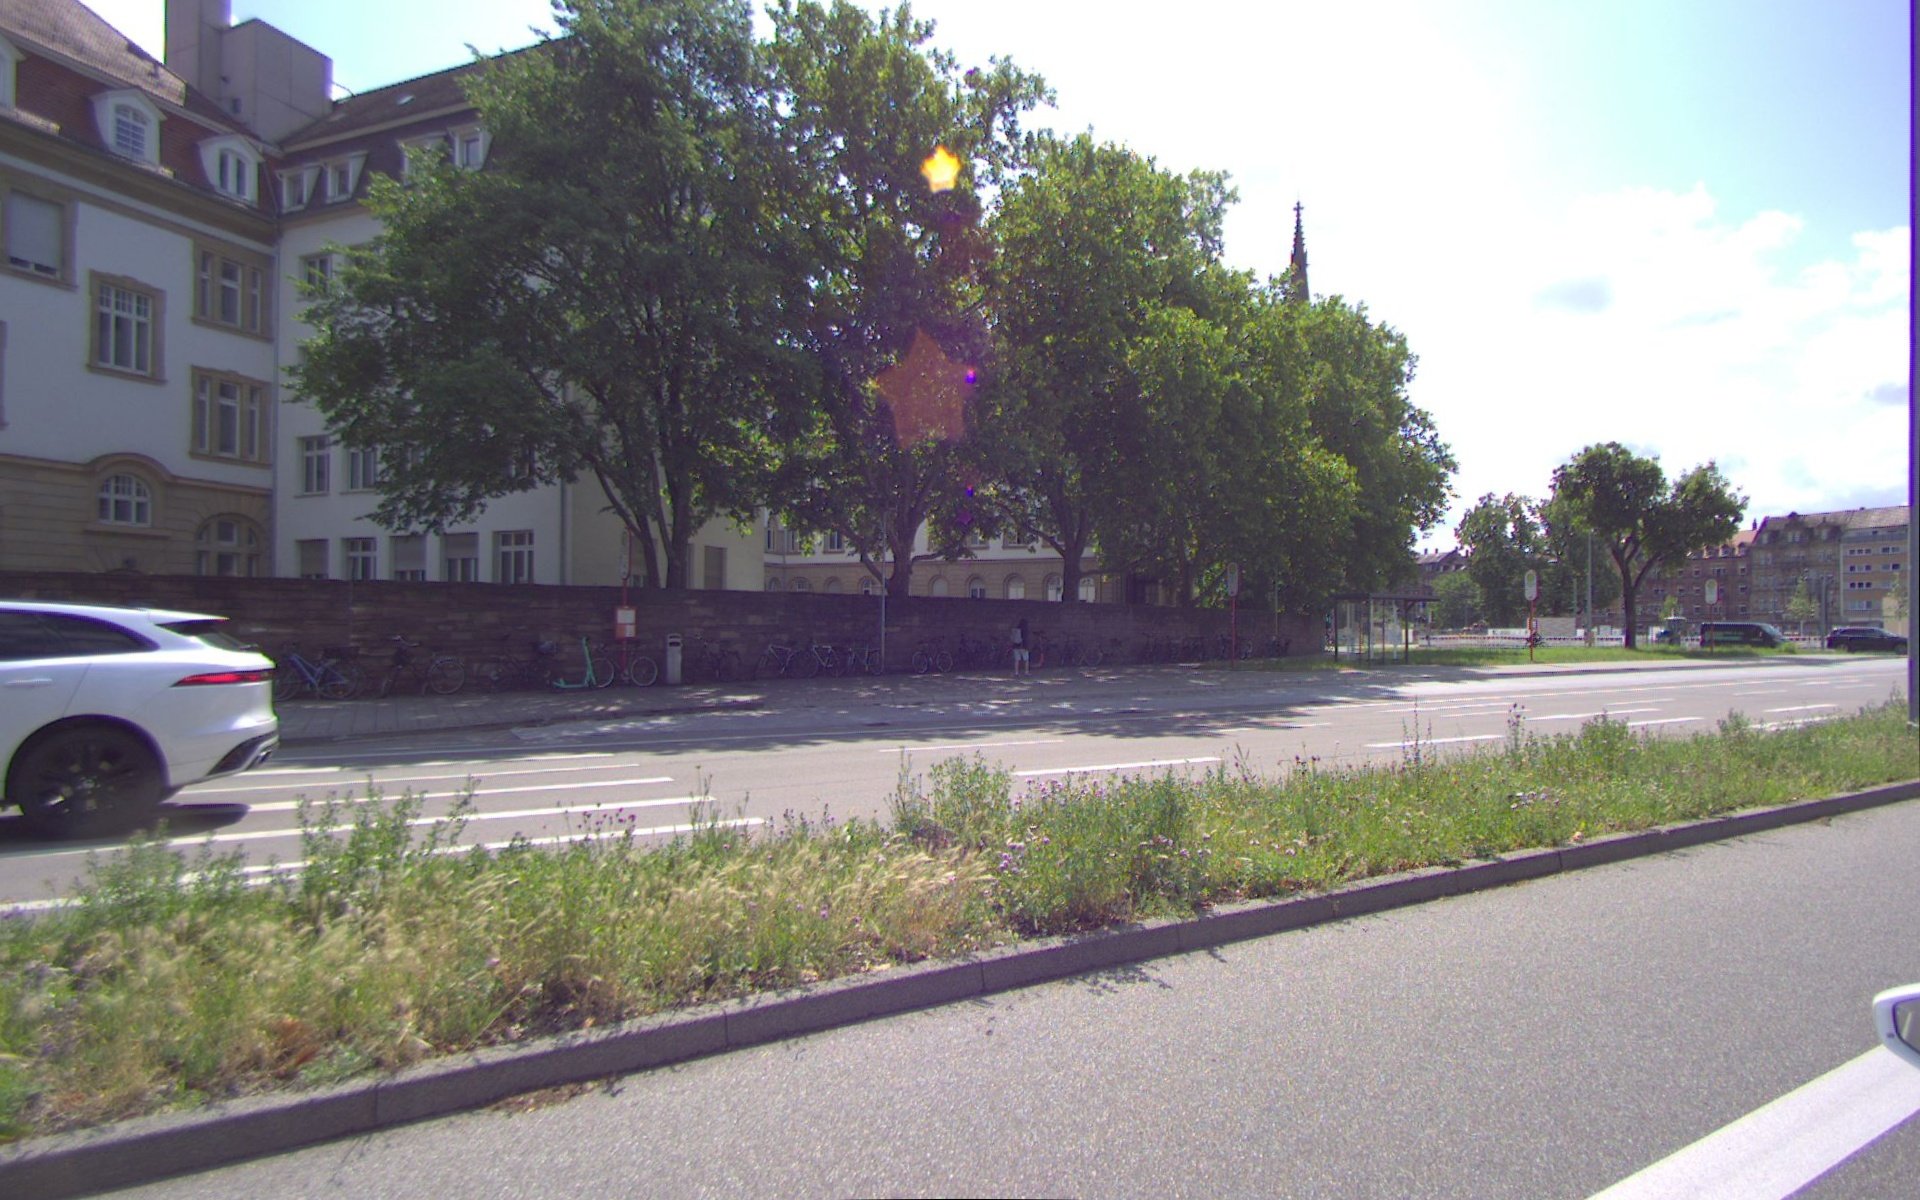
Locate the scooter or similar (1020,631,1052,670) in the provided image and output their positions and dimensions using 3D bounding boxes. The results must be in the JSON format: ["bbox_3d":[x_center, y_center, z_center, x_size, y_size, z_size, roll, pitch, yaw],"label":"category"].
[{"bbox_3d":[2.423,1.599,31.797,0.426,1.199,1.188,-1,-1,37],"label":"scooter or similar"}]

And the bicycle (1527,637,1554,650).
[{"bbox_3d":[47.769,3.596,82.670,0.543,1.044,1.906,1,-1,-37],"label":"bicycle"}]

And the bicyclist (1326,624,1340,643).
[{"bbox_3d":[36.694,3.265,98.780,0.588,1.869,1.110,0,-1,-38],"label":"bicyclist"}]

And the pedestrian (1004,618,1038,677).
[{"bbox_3d":[1.711,1.321,28.212,0.607,1.638,0.754,1,0,38],"label":"pedestrian"}]

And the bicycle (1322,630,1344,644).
[{"bbox_3d":[36.686,3.615,98.780,0.599,1.307,2.049,1,-1,-37],"label":"bicycle"}]

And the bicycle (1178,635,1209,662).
[{"bbox_3d":[9.604,1.990,41.211,0.537,1.065,1.615,-1,-1,41],"label":"bicycle"}]

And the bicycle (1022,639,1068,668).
[{"bbox_3d":[2.821,1.763,33.172,1.654,0.914,0.538,1,-1,-44],"label":"bicycle"}]

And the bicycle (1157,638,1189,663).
[{"bbox_3d":[8.481,1.985,39.952,0.537,0.964,1.657,-1,-1,41],"label":"bicycle"}]

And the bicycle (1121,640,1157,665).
[{"bbox_3d":[6.759,1.969,37.809,0.538,0.914,1.656,-1,-1,43],"label":"bicycle"}]

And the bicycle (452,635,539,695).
[{"bbox_3d":[-9.638,1.329,20.875,0.525,1.167,1.588,-1,-1,37],"label":"bicycle"}]

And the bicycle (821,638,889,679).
[{"bbox_3d":[-2.819,1.558,27.163,1.882,1.061,0.538,1,-1,-44],"label":"bicycle"}]

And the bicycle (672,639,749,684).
[{"bbox_3d":[-6.026,1.473,24.293,1.787,1.021,0.476,1,-1,-41],"label":"bicycle"}]

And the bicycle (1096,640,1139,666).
[{"bbox_3d":[5.692,1.900,36.223,1.649,0.914,0.498,1,-1,-35],"label":"bicycle"}]

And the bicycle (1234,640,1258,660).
[{"bbox_3d":[13.376,2.327,46.982,0.446,0.914,1.787,0,-1,38],"label":"bicycle"}]

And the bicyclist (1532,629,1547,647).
[{"bbox_3d":[47.730,3.144,82.709,0.546,1.493,0.960,1,-1,-38],"label":"bicyclist"}]

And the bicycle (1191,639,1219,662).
[{"bbox_3d":[10.415,2.131,42.715,0.537,0.914,1.659,0,-1,38],"label":"bicycle"}]

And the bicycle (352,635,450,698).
[{"bbox_3d":[-10.845,1.269,19.544,0.525,1.167,1.588,-1,-1,37],"label":"bicycle"}]

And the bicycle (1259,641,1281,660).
[{"bbox_3d":[15.409,2.486,49.894,0.537,0.914,1.659,0,-1,38],"label":"bicycle"}]

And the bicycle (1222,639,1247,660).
[{"bbox_3d":[12.428,2.236,45.471,0.537,0.914,1.659,0,-1,38],"label":"bicycle"}]

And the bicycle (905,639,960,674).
[{"bbox_3d":[-0.796,1.632,29.034,1.654,0.962,0.538,1,-1,-44],"label":"bicycle"}]

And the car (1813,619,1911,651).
[{"bbox_3d":[60.384,2.338,67.311,2.079,2.040,4.598,2,-2,-35],"label":"car"}]

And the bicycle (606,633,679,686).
[{"bbox_3d":[-7.294,1.348,23.136,1.583,1.158,0.427,1,-2,-44],"label":"bicycle"}]

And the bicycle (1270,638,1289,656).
[{"bbox_3d":[16.443,2.410,51.707,0.536,0.914,1.661,0,-1,33],"label":"bicycle"}]

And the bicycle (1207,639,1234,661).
[{"bbox_3d":[11.439,2.198,44.097,0.537,0.914,1.659,0,-1,38],"label":"bicycle"}]

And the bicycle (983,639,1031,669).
[{"bbox_3d":[1.500,1.704,31.802,1.654,0.914,0.538,2,-2,-44],"label":"bicycle"}]

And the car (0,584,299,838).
[{"bbox_3d":[-7.626,0.747,7.155,4.719,1.689,2.061,1,-1,-31],"label":"car"}]

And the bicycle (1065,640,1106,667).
[{"bbox_3d":[4.383,1.850,35.044,0.538,0.914,1.655,-1,-1,43],"label":"bicycle"}]

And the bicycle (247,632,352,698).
[{"bbox_3d":[-12.269,1.187,18.678,1.583,1.167,0.397,1,-1,-43],"label":"bicycle"}]

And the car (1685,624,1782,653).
[{"bbox_3d":[53.096,2.584,69.044,1.909,1.904,4.978,1,-1,-34],"label":"car"}]

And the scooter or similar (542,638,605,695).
[{"bbox_3d":[-8.197,1.389,21.331,0.426,1.167,1.188,-1,-1,37],"label":"scooter or similar"}]

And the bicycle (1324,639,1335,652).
[{"bbox_3d":[28.384,3.484,77.177,0.534,0.914,1.666,0,-1,11],"label":"bicycle"}]

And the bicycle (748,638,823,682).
[{"bbox_3d":[-4.446,1.513,25.731,1.936,1.061,0.538,1,-1,-44],"label":"bicycle"}]
